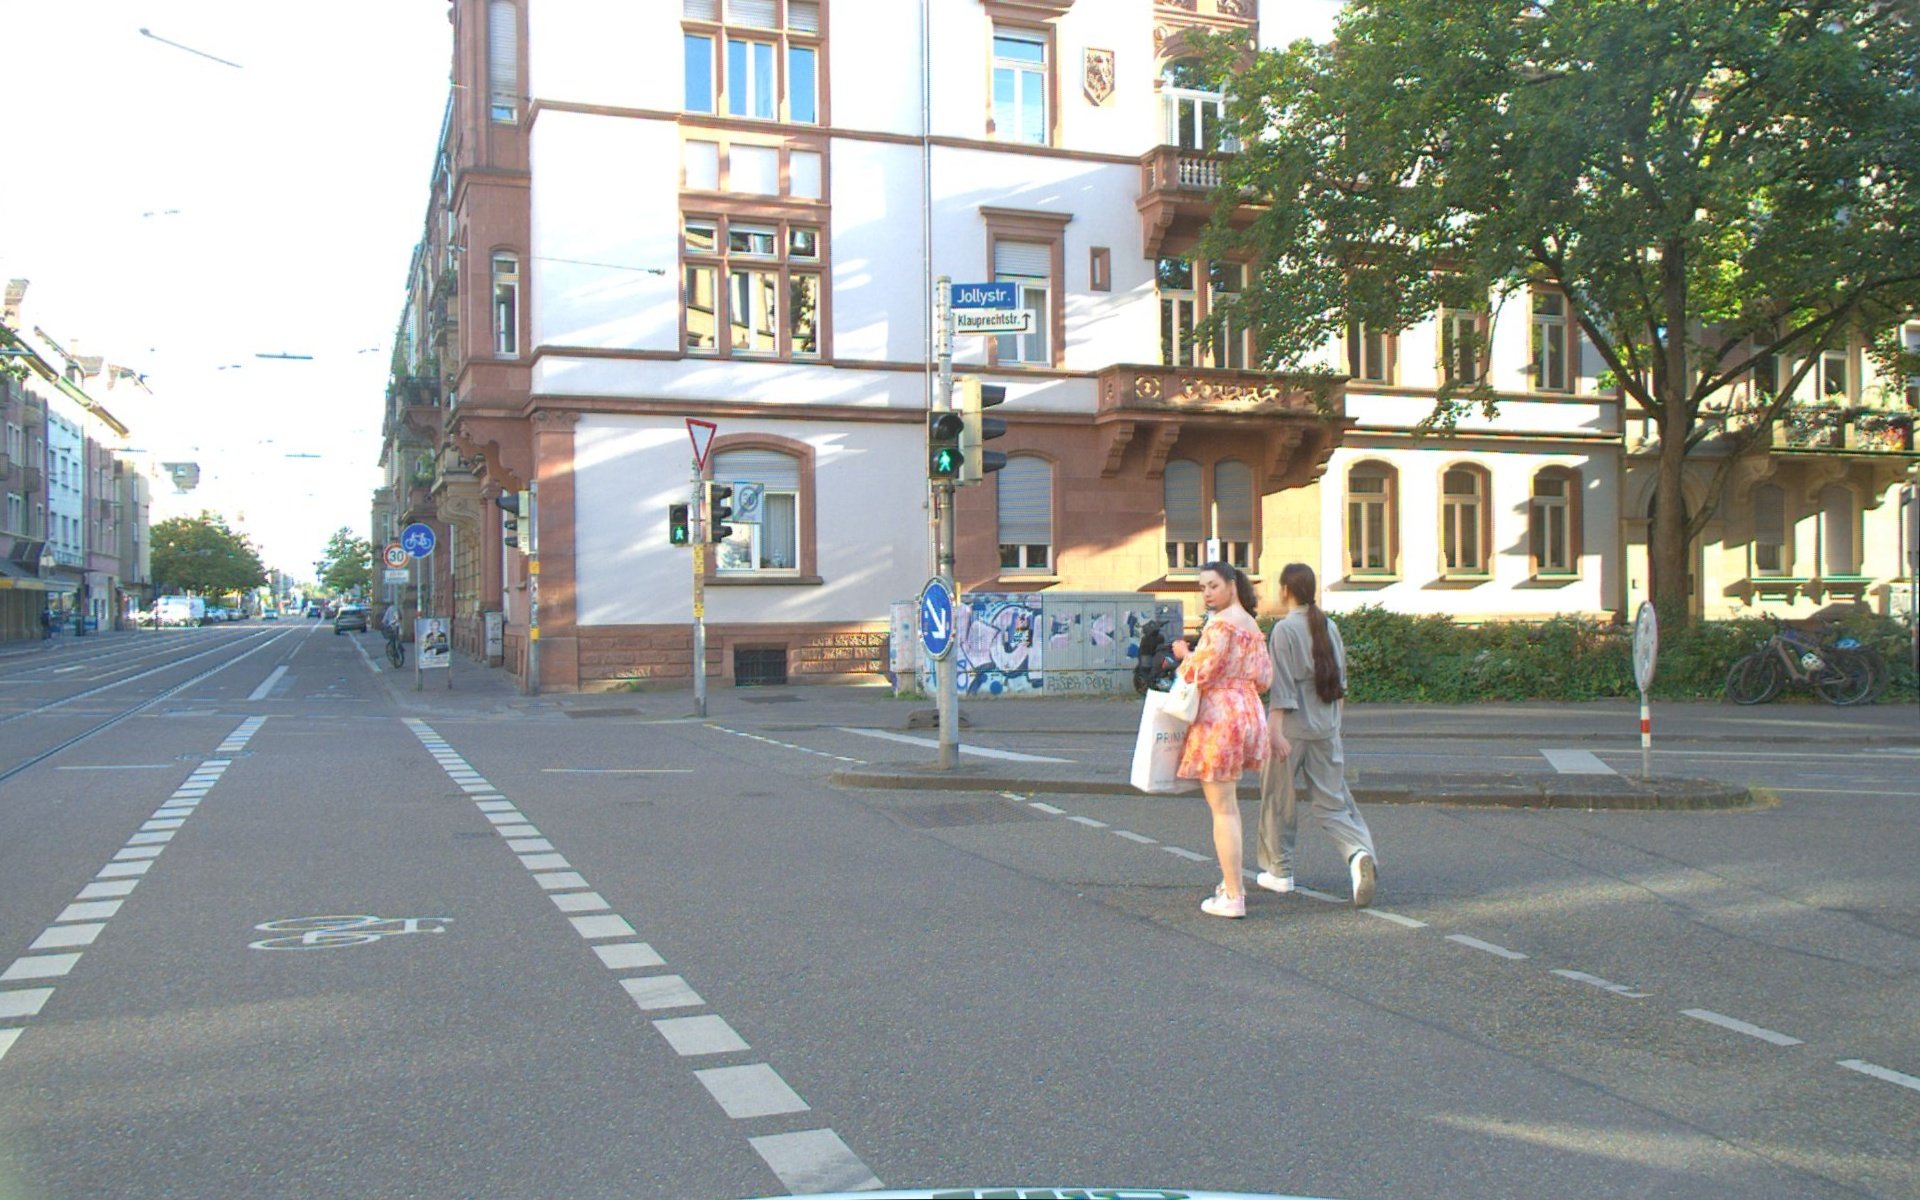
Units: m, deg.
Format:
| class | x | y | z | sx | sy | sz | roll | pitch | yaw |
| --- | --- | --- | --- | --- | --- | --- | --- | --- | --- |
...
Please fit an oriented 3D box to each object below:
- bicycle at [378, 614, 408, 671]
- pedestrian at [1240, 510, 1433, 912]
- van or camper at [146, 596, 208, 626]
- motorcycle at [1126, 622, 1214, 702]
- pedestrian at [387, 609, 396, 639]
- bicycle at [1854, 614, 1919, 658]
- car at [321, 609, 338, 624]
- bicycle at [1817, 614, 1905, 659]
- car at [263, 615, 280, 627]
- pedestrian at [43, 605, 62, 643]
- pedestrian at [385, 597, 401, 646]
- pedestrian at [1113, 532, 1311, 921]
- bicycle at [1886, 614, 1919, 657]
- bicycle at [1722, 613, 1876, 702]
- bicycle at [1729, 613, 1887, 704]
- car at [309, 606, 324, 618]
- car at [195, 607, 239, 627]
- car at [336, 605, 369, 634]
| class | x | y | z | sx | sy | sz | roll | pitch | yaw |
| --- | --- | --- | --- | --- | --- | --- | --- | --- | --- |
| bicycle | -13.811 | 1.015 | 40.293 | 0.643 | 1.347 | 2.165 | -1 | 0 | -18 |
| pedestrian | 1.919 | 0.537 | 8.452 | 0.683 | 1.942 | 0.664 | 1 | -1 | -30 |
| van or camper | -69.134 | 0.971 | 146.086 | 1.961 | 2.608 | 4.629 | -1 | -1 | 38 |
| motorcycle | 3.164 | 0.920 | 25.155 | 0.706 | 1.037 | 2.282 | -1 | 2 | -9 |
| pedestrian | -35.311 | 1.479 | 102.714 | 0.536 | 1.811 | 0.745 | -1 | 0 | -20 |
| bicycle | 20.014 | 0.759 | 35.327 | 0.484 | 0.909 | 1.788 | -1 | 0 | -18 |
| car | -76.030 | 1.970 | 199.455 | 1.965 | 1.758 | 3.974 | 0 | -1 | -21 |
| bicycle | 19.075 | 0.761 | 35.049 | 0.484 | 0.909 | 1.788 | -1 | 0 | -18 |
| car | -86.884 | 2.619 | 208.724 | 1.793 | 1.467 | 3.975 | 0 | -1 | -21 |
| pedestrian | -42.027 | 1.115 | 76.584 | 0.691 | 1.759 | 0.643 | -1 | 0 | -21 |
| pedestrian | -20.866 | 0.783 | 60.860 | 0.536 | 1.811 | 0.501 | -1 | 0 | -20 |
| pedestrian | 1.229 | 0.600 | 8.205 | 0.790 | 1.831 | 0.760 | 1 | 0 | -6 |
| bicycle | 20.850 | 0.756 | 35.570 | 0.484 | 0.909 | 1.788 | -1 | 0 | -18 |
| bicycle | 11.638 | 0.797 | 22.981 | 1.819 | 1.181 | 0.560 | -1 | 1 | 17 |
| bicycle | 11.458 | 0.790 | 22.407 | 1.819 | 1.181 | 0.560 | -1 | 1 | 17 |
| car | -91.286 | 1.720 | 234.729 | 1.965 | 1.758 | 3.974 | 0 | -1 | -21 |
| car | -80.620 | 1.865 | 179.511 | 1.966 | 2.049 | 3.973 | -1 | 0 | 44 |
| car | -38.408 | 1.222 | 104.644 | 1.921 | 1.713 | 3.977 | -1 | 0 | -20 |
